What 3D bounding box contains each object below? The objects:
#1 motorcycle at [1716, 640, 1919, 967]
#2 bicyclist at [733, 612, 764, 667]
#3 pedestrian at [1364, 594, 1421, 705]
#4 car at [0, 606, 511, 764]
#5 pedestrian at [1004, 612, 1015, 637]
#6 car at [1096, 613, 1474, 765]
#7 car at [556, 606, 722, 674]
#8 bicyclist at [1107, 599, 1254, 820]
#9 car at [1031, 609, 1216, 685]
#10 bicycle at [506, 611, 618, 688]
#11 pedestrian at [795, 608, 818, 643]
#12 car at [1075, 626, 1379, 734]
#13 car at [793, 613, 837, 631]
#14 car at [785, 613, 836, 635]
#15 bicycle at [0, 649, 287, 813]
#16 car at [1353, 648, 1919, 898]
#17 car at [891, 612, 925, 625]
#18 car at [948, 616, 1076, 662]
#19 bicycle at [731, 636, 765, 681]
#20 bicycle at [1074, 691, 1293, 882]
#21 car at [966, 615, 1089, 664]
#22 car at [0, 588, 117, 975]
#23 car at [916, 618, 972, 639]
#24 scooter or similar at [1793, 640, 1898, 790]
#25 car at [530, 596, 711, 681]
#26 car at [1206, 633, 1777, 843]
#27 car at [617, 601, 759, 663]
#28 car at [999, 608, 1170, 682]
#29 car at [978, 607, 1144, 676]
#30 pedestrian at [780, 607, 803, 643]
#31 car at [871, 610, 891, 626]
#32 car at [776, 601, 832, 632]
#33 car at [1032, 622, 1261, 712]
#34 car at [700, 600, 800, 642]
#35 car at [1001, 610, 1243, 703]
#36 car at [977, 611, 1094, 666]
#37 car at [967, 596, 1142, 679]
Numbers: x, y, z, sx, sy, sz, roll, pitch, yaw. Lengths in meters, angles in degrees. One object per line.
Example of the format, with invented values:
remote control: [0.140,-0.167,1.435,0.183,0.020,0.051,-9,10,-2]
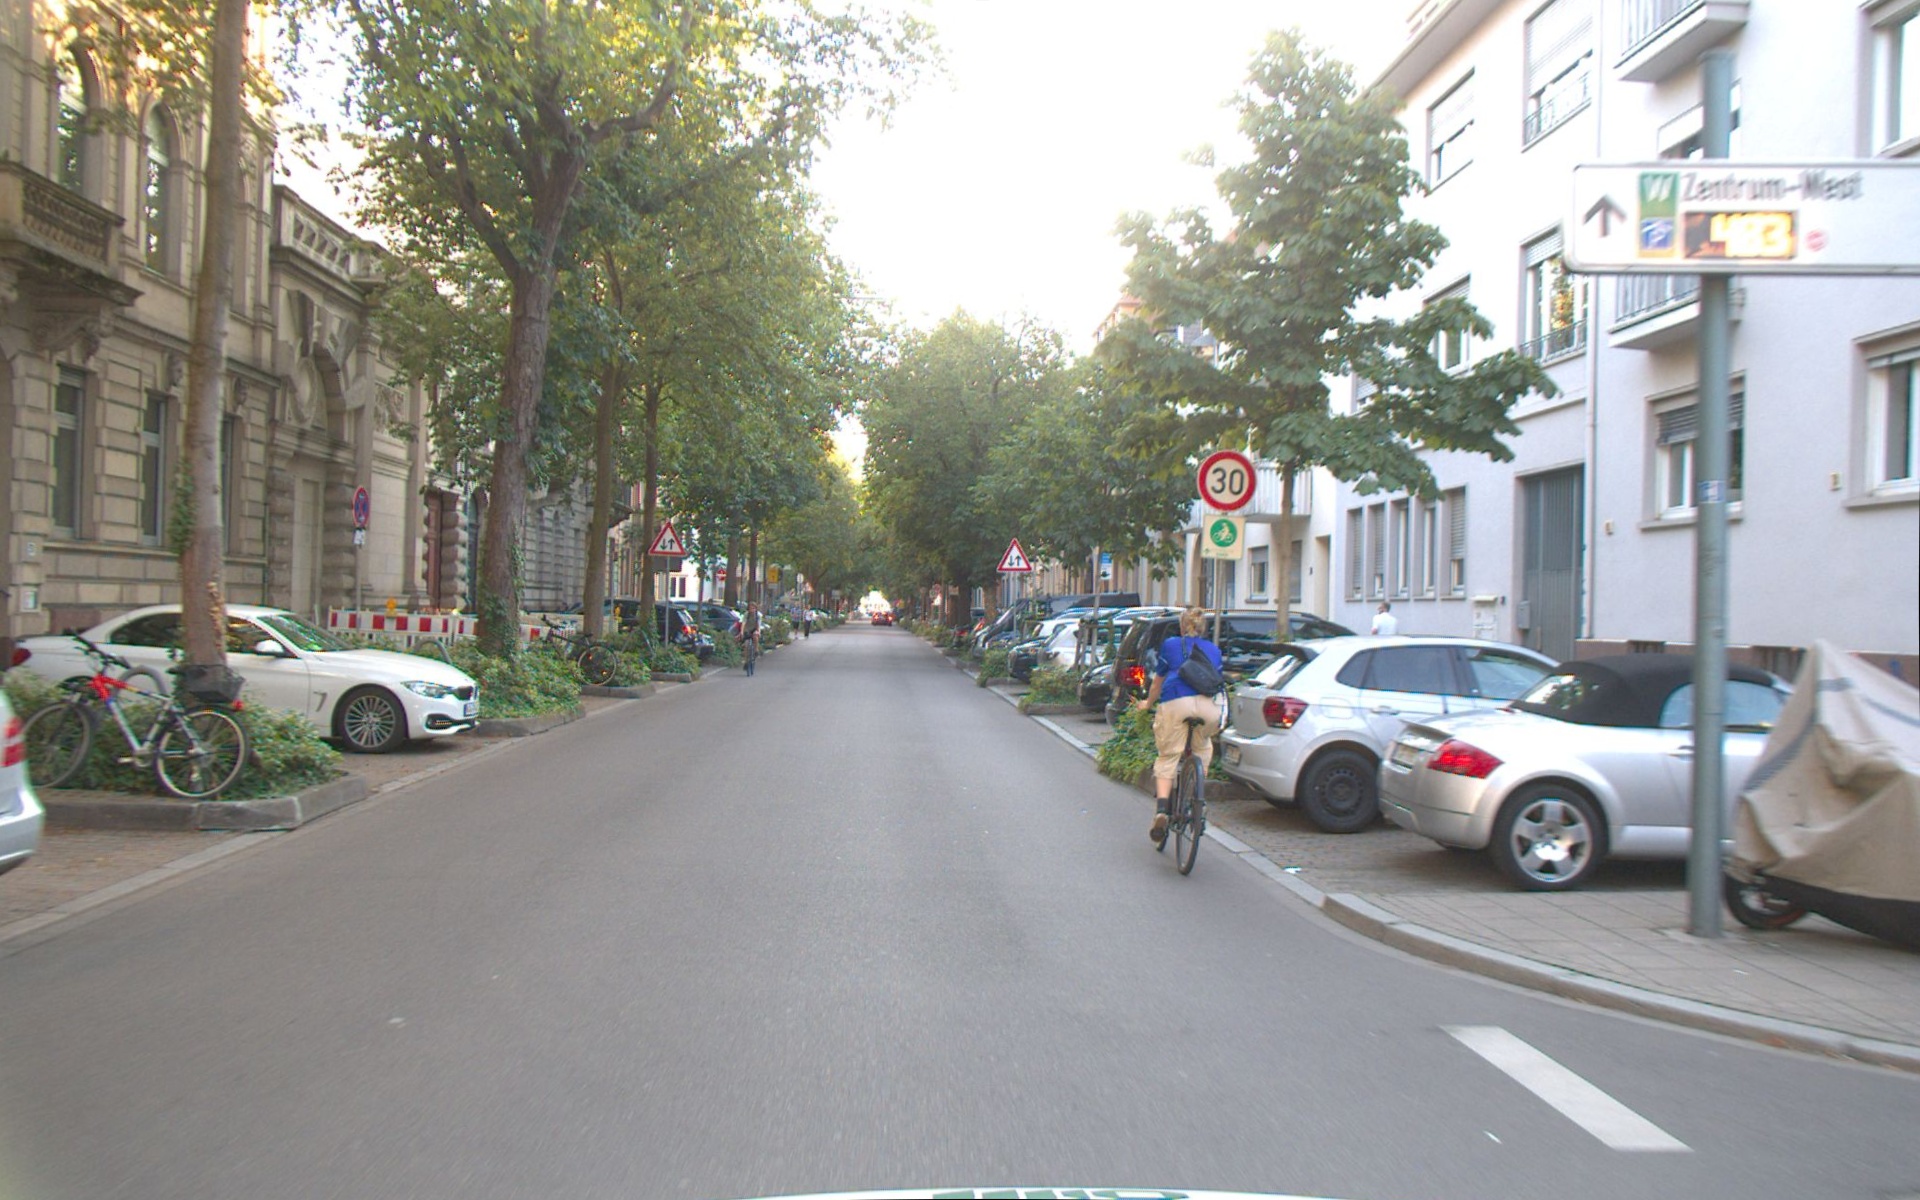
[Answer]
motorcycle: [4.650,0.911,7.696,1.867,1.417,1.000,0,-1,10]
bicyclist: [-5.042,0.939,39.393,0.658,1.286,0.647,1,-1,-3]
pedestrian: [7.257,0.820,27.777,0.683,1.827,0.880,1,-1,-2]
car: [-7.102,0.838,16.977,4.422,1.415,1.916,2,-1,-1]
pedestrian: [3.105,1.526,103.866,0.641,1.563,0.831,0,-1,-2]
car: [3.739,1.009,19.527,4.027,1.646,1.960,1,-1,-3]
car: [-8.238,1.016,42.748,3.886,1.411,1.764,4,0,-2]
bicyclist: [1.440,0.706,10.889,0.661,1.387,0.773,3,-2,-17]
car: [3.505,1.002,35.821,3.718,1.448,1.696,-2,-1,-4]
bicycle: [-6.731,0.837,27.991,1.734,1.254,0.500,2,-2,2]
pedestrian: [-7.515,1.235,81.138,0.790,1.700,0.819,1,-1,-40]
car: [3.951,1.170,24.874,4.230,1.522,1.792,0,-1,-4]
car: [-14.047,2.119,160.245,4.119,1.664,1.961,-1,-1,-3]
car: [-13.789,2.215,152.524,4.589,1.887,1.961,-1,-1,-3]
bicycle: [-5.666,0.890,11.395,1.758,1.027,0.598,2,-1,-3]
car: [4.663,1.038,10.497,3.905,1.356,1.794,1,0,0]
car: [-6.383,2.268,203.622,4.183,1.593,1.961,-1,-1,-3]
car: [1.807,1.371,58.444,4.315,1.418,1.883,-2,-1,-5]
bicycle: [-5.045,1.373,39.474,0.658,1.011,1.757,1,0,-3]
bicycle: [1.416,1.179,10.881,0.661,1.048,1.968,3,-1,-16]
car: [2.252,1.317,56.003,3.909,1.463,1.924,-2,-1,-5]
car: [-5.950,0.684,6.679,4.085,1.584,1.826,2,-1,-1]
car: [-1.160,2.056,118.396,3.802,1.465,1.845,0,-1,-6]
scooter or similar: [8.016,1.014,15.015,0.338,1.261,1.421,1,0,7]
car: [-8.054,0.913,39.509,3.887,1.624,1.779,5,-1,-3]
car: [4.053,1.039,13.037,3.907,1.463,1.793,1,-1,-3]
car: [-8.506,0.999,51.934,4.117,1.701,1.906,3,0,-3]
car: [3.010,1.090,40.434,3.887,1.606,1.850,-2,-1,-4]
car: [2.606,1.073,43.503,4.074,1.606,1.968,-2,-1,-5]
pedestrian: [-8.236,1.215,80.701,0.790,1.767,0.819,1,-1,-40]
car: [-7.982,1.827,167.227,1.917,1.593,4.279,-1,-1,-3]
car: [-13.171,1.409,140.128,4.589,2.521,1.999,1,-1,-3]
car: [3.402,1.215,30.702,3.992,1.454,1.817,-2,-1,-1]
car: [-9.622,0.941,76.056,4.337,1.680,1.872,3,0,-2]
car: [3.175,1.103,33.036,4.500,1.606,1.942,-2,-1,-4]
car: [2.413,1.230,53.387,3.606,1.606,1.713,-2,-1,-3]
car: [2.574,1.029,45.941,4.597,2.046,2.036,-2,-1,-4]
